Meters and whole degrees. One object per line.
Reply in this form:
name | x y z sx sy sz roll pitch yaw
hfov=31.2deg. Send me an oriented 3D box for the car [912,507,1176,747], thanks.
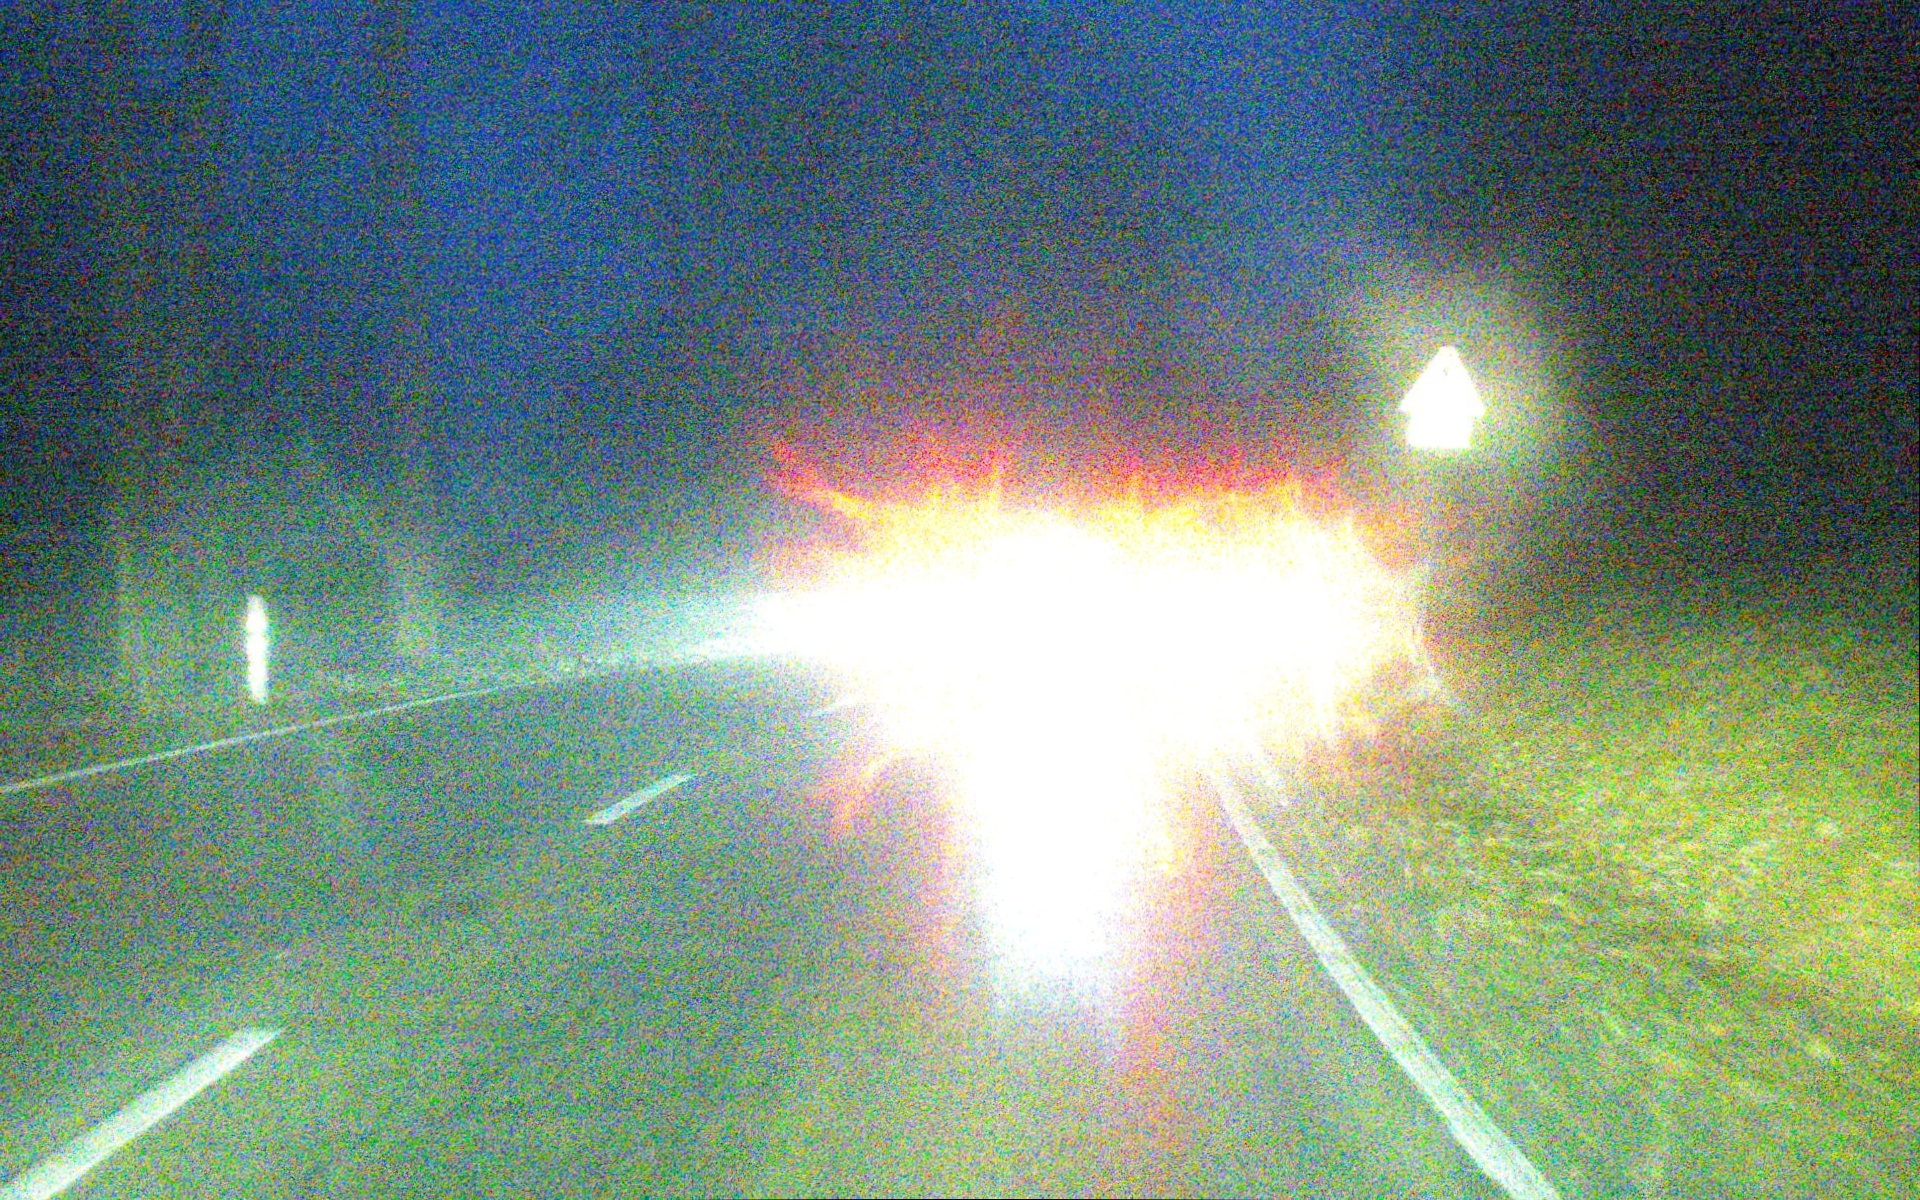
car | 0.626 0.174 28.662 1.993 1.801 3.918 -2 1 -1
